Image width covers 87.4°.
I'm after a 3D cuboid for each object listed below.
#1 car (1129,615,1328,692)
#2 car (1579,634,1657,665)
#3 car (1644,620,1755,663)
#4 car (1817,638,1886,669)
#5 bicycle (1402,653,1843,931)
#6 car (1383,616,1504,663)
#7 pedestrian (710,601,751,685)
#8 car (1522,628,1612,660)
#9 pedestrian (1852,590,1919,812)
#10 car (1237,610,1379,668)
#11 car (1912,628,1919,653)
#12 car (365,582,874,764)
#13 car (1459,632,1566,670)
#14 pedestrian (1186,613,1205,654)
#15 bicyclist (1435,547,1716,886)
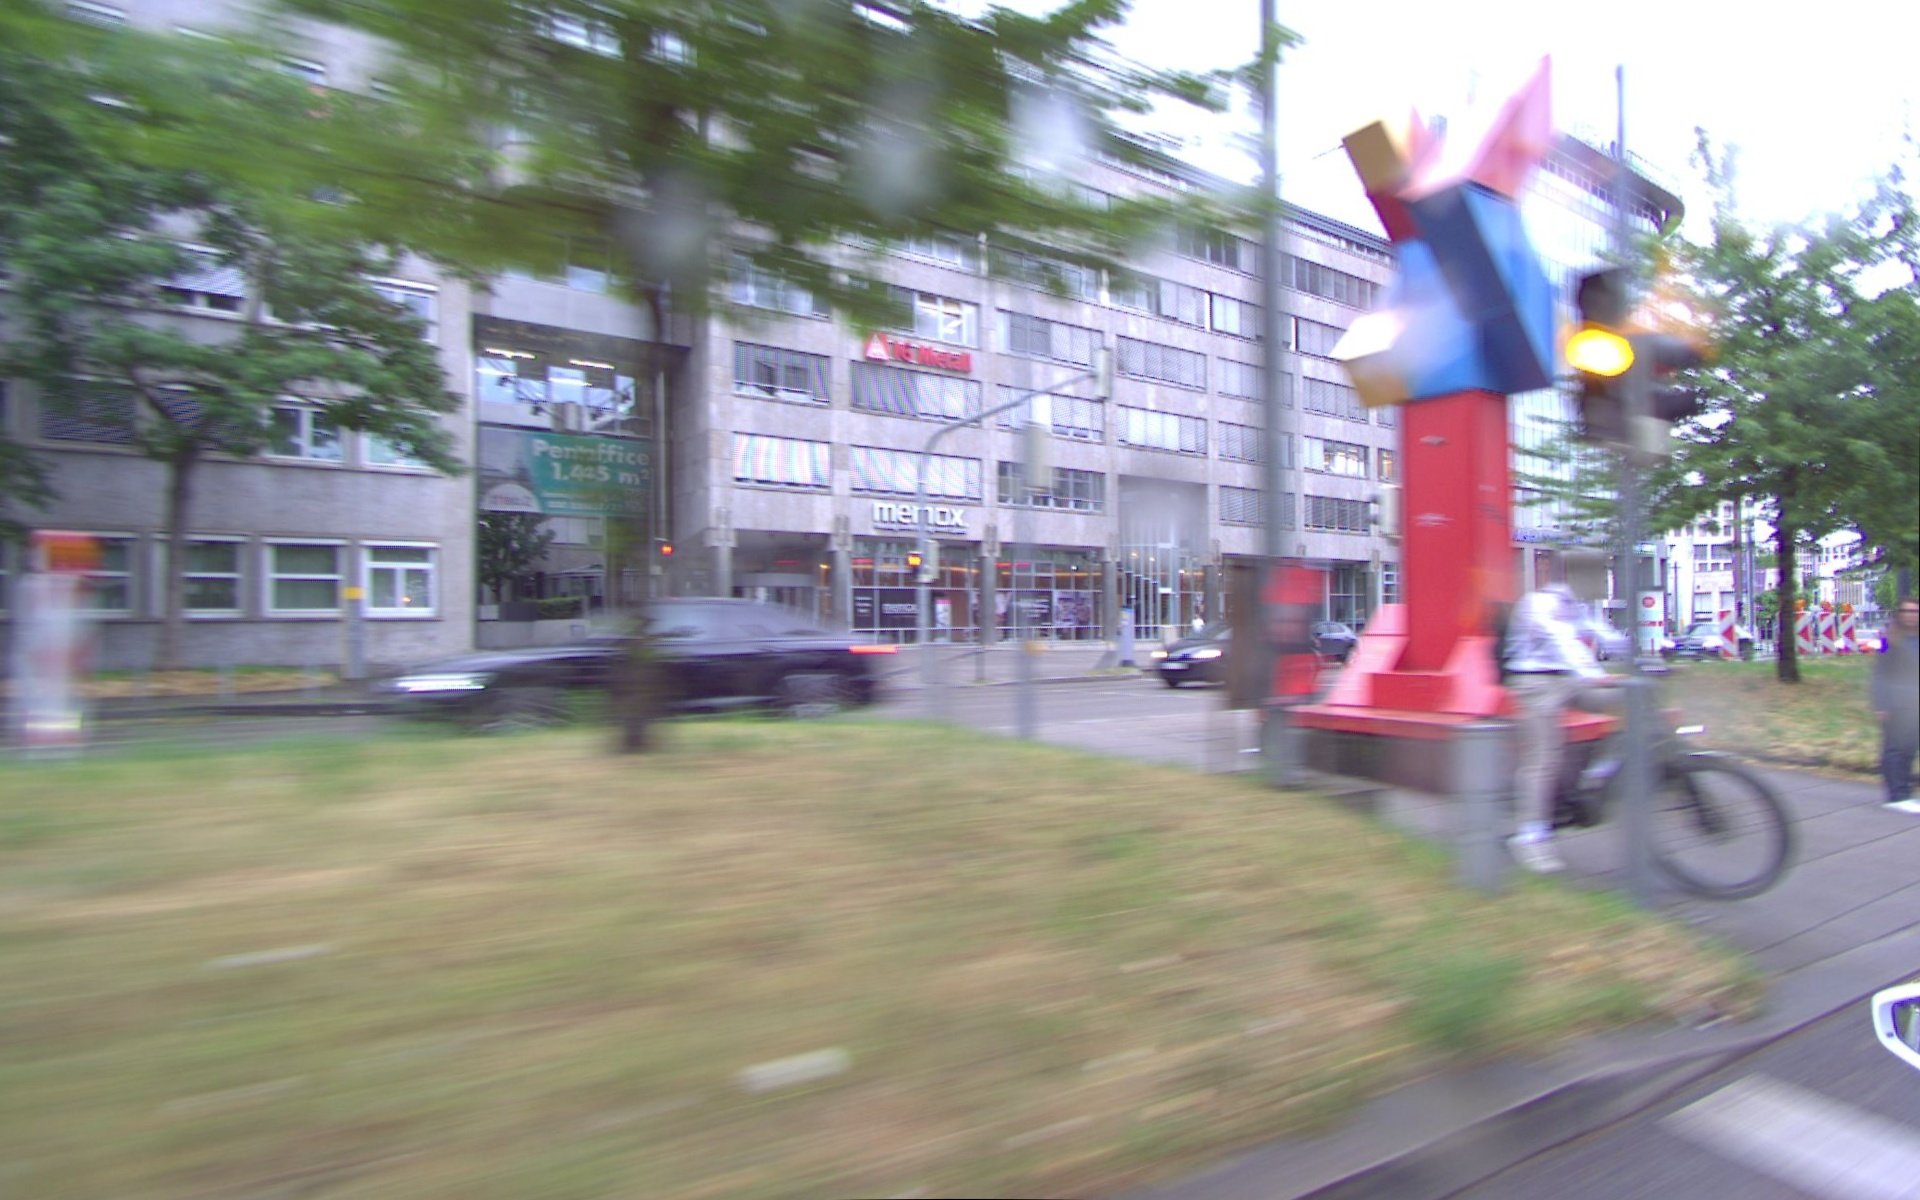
[{"bbox_3d":[5.537,1.071,20.624,3.958,1.433,1.779,1,-3,-34],"label":"car"},{"bbox_3d":[31.349,2.328,47.850,3.976,1.420,1.764,1,-2,-35],"label":"car"},{"bbox_3d":[26.378,1.456,35.772,4.520,1.448,1.850,1,-2,-35],"label":"car"},{"bbox_3d":[45.472,2.699,51.216,4.094,1.448,1.849,1,-2,-37],"label":"car"},{"bbox_3d":[3.650,0.958,5.766,0.767,1.154,1.963,1,1,-28],"label":"bicycle"},{"bbox_3d":[17.926,1.431,37.170,4.860,1.644,1.766,1,-1,-33],"label":"car"},{"bbox_3d":[-5.028,0.928,22.006,0.716,1.811,0.522,1,-1,-44],"label":"pedestrian"},{"bbox_3d":[26.913,1.923,44.500,4.434,1.343,1.879,2,-2,-37],"label":"car"},{"bbox_3d":[7.599,0.781,8.009,0.712,1.708,0.525,1,-1,-29],"label":"pedestrian"},{"bbox_3d":[11.353,1.227,32.675,4.740,1.748,1.851,1,-1,-33],"label":"car"},{"bbox_3d":[68.609,2.879,70.617,3.965,1.723,1.930,2,-2,-38],"label":"car"},{"bbox_3d":[-3.343,0.679,10.360,4.680,1.486,1.778,1,-3,-36],"label":"car"},{"bbox_3d":[22.054,2.000,40.043,4.634,1.420,1.766,1,-2,-33],"label":"car"},{"bbox_3d":[10.652,1.512,45.419,0.523,1.811,0.715,1,-1,-32],"label":"pedestrian"},{"bbox_3d":[3.578,0.611,5.908,0.802,1.772,1.071,3,1,-28],"label":"bicyclist"}]
